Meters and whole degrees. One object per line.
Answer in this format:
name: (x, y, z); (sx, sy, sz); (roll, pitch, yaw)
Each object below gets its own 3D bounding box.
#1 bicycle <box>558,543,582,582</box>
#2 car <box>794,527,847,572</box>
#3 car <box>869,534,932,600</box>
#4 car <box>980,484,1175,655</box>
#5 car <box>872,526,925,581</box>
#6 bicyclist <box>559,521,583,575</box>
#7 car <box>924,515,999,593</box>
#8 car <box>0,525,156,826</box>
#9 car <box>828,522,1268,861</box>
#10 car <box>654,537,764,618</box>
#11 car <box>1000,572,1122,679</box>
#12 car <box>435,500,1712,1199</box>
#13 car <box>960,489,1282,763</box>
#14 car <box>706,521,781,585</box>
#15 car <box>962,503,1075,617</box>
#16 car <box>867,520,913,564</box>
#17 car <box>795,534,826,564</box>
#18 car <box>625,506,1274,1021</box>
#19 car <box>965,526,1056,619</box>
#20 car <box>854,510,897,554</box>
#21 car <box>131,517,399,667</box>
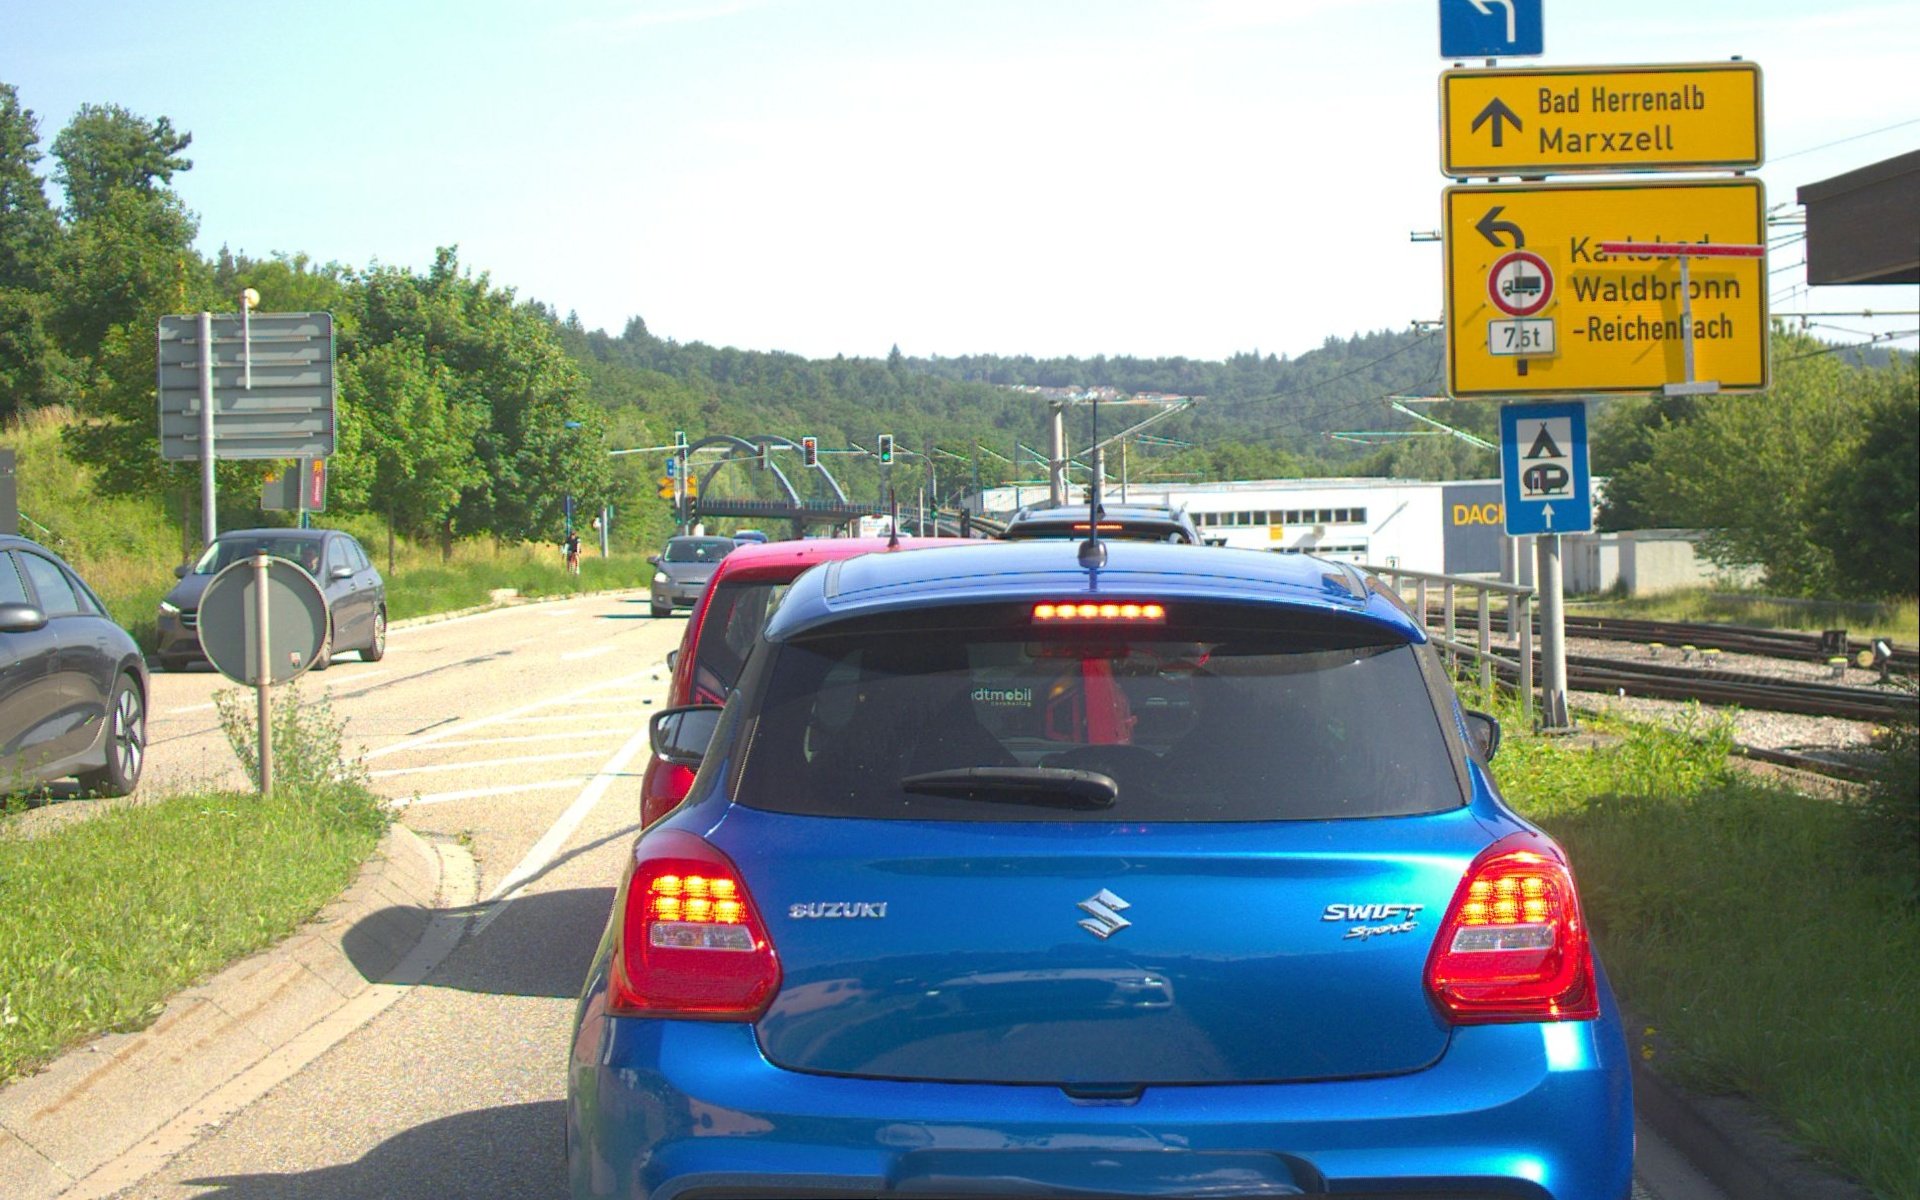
bicycle: (-10.940, -1.062, 96.490); (0.566, 1.039, 1.552); (2, 2, -3)
car: (-5.666, -2.061, 140.017); (1.993, 1.777, 4.000); (1, 1, -1)
car: (-1.948, -1.097, 113.475); (1.993, 2.006, 4.001); (2, 2, -1)
car: (1.261, -0.367, 37.981); (1.993, 1.730, 4.000); (2, 1, 1)
car: (-2.399, -1.840, 134.651); (1.993, 2.006, 4.001); (2, 2, -1)
bicyclist: (-10.920, -1.465, 96.503); (0.629, 1.502, 0.506); (2, 2, -3)
car: (0.021, -1.305, 95.847); (1.993, 2.006, 4.001); (2, 2, -1)
car: (-5.566, 0.358, 17.268); (1.791, 1.465, 4.716); (0, 1, 2)
car: (0.440, 0.365, 17.985); (1.993, 1.526, 4.602); (-1, 1, 1)
car: (-4.566, -0.430, 63.081); (1.672, 1.436, 3.840); (1, 1, 1)
car: (1.604, 0.381, 55.038); (1.832, 1.488, 3.811); (2, 2, 1)
car: (0.121, 0.585, 7.048); (1.868, 1.543, 4.000); (0, 1, -1)
car: (1.058, 0.113, 24.067); (1.993, 1.681, 4.497); (2, 1, 1)
car: (-5.760, -1.268, 91.921); (1.832, 1.463, 3.812); (2, 3, -2)
car: (1.082, -0.800, 65.557); (1.993, 2.006, 4.001); (2, 2, -1)
car: (-3.112, -2.594, 153.381); (1.993, 1.810, 4.001); (2, 2, -1)
car: (-10.317, -3.501, 237.053); (1.993, 2.007, 4.000); (1, 1, -1)
car: (-0.001, 0.477, 12.717); (1.993, 1.566, 4.000); (1, 1, 1)
car: (1.162, -0.674, 80.873); (1.993, 2.006, 4.001); (2, 2, -1)
car: (-4.182, -3.378, 170.789); (1.993, 2.137, 4.720); (1, 1, -1)
car: (-7.680, -0.139, 38.415); (1.993, 1.558, 4.509); (0, 1, 1)
